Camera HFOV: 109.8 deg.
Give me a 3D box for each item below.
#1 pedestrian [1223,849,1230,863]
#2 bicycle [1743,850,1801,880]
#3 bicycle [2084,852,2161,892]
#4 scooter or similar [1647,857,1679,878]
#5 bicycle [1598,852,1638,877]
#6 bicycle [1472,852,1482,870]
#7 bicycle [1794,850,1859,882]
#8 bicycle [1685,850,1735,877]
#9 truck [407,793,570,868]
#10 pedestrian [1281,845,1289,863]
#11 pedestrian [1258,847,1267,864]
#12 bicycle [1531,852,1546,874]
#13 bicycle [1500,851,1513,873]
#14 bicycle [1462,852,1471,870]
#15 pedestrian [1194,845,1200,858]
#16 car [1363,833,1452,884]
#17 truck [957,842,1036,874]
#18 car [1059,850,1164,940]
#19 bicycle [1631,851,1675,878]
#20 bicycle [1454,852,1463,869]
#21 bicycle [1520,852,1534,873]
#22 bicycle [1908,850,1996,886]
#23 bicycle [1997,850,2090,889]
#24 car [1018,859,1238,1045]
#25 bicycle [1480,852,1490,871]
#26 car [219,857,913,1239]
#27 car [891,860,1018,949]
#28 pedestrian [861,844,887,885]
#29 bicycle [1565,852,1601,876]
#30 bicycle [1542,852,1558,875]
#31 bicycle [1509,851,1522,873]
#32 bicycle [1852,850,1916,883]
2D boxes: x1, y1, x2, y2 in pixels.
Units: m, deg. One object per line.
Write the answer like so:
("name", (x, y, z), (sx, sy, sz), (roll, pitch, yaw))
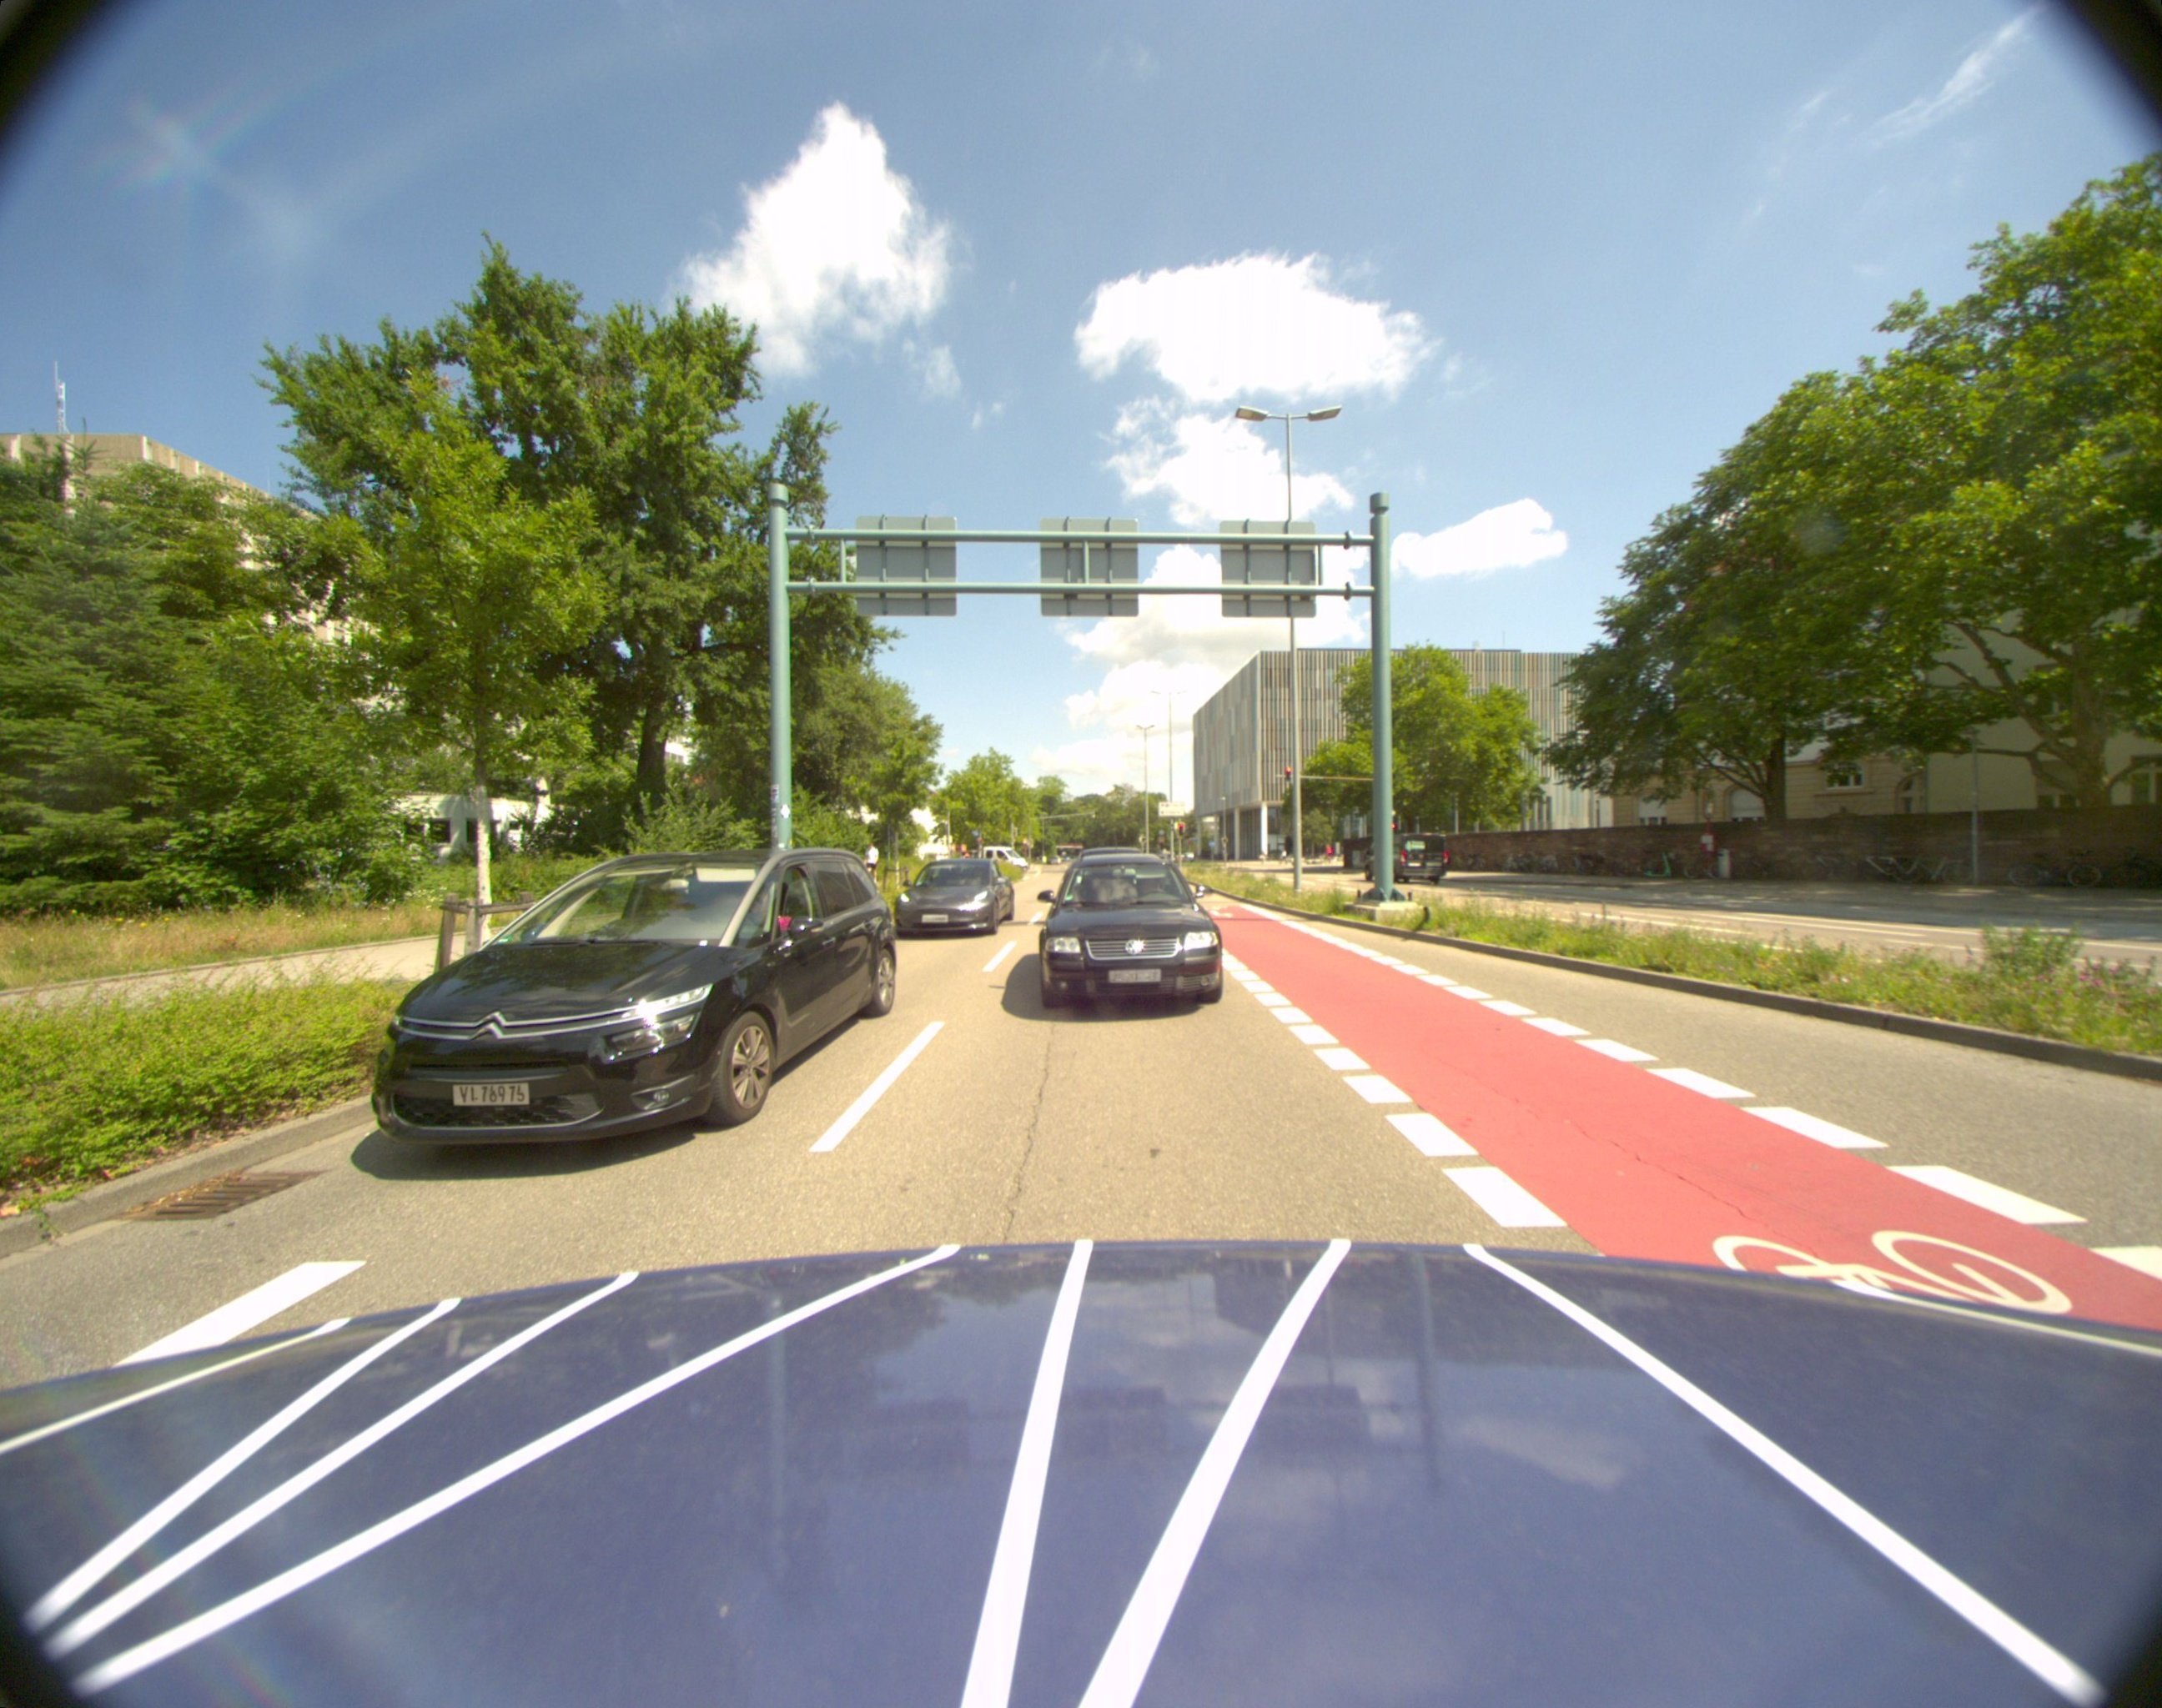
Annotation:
("pedestrian", (20.349, 0.309, 106.308), (0.825, 1.906, 0.807), (-2, 2, -5))
("bicycle", (25.249, 0.383, 27.804), (0.383, 1.037, 1.668), (-1, 1, -11))
("bicycle", (27.108, 0.458, 19.425), (0.398, 0.998, 1.759), (-1, 1, -13))
("scooter or similar", (23.967, 0.553, 31.278), (0.353, 0.838, 1.068), (-1, 1, -12))
("bicycle", (24.135, 0.461, 34.171), (0.383, 1.101, 1.669), (-1, 1, -10))
("bicycle", (22.747, 0.404, 43.645), (0.329, 1.012, 1.673), (0, 1, 22))
("bicycle", (25.571, 0.399, 26.087), (0.383, 1.037, 1.668), (-1, 1, -11))
("bicycle", (24.721, 0.363, 29.901), (0.383, 1.037, 1.668), (-1, 1, -11))
("truck", (-26.847, -1.032, 34.935), (2.098, 3.005, 7.121), (-2, 1, -3))
("pedestrian", (21.452, -0.002, 79.964), (0.632, 1.907, 0.718), (-2, 2, -2))
("pedestrian", (20.100, 0.166, 84.054), (0.715, 1.906, 0.807), (-2, 2, -4))
("bicycle", (23.311, 0.442, 38.730), (0.382, 1.101, 1.673), (0, 1, 22))
("bicycle", (22.864, 0.423, 40.850), (0.382, 1.101, 1.673), (0, 1, 22))
("bicycle", (22.624, 0.389, 44.575), (0.329, 1.012, 1.673), (0, 1, 22))
("pedestrian", (17.352, -0.359, 113.800), (0.715, 1.906, 0.807), (-2, 2, -4))
("car", (14.789, 0.185, 34.725), (2.214, 2.158, 4.520), (0, 0, 2))
("truck", (-6.815, 0.351, 61.315), (5.803, 2.287, 2.467), (-3, 0, 21))
("car", (0.608, 0.712, 15.498), (1.751, 1.496, 4.520), (-3, 0, 2))
("bicycle", (24.435, 0.437, 32.496), (0.383, 1.101, 1.668), (-1, 1, -11))
("bicycle", (22.499, 0.380, 45.307), (0.329, 1.012, 1.673), (0, 1, 22))
("bicycle", (23.218, 0.432, 39.592), (0.382, 1.101, 1.673), (0, 1, 22))
("bicycle", (26.263, 0.392, 22.960), (0.398, 1.037, 1.759), (-1, 1, -13))
("bicycle", (26.711, 0.399, 21.114), (0.398, 1.037, 1.582), (-1, 1, -13))
("car", (0.464, 0.827, 8.566), (1.751, 1.426, 4.520), (-3, 0, 2))
("bicycle", (22.846, 0.419, 42.931), (0.329, 1.012, 1.673), (0, 1, 22))
("car", (-2.824, 0.893, 5.665), (1.862, 1.613, 4.521), (-3, 0, 3))
("car", (-2.366, 0.885, 15.323), (1.765, 1.409, 4.363), (-3, 0, 0))
("pedestrian", (-9.235, 0.454, 33.904), (0.844, 1.755, 0.841), (-2, 2, 1))
("bicycle", (23.890, 0.478, 36.188), (0.382, 1.101, 1.669), (-1, 1, -8))
("bicycle", (23.440, 0.450, 37.972), (0.382, 1.101, 1.673), (0, 1, 22))
("bicycle", (23.119, 0.421, 40.409), (0.382, 1.101, 1.673), (0, 1, 22))
("bicycle", (25.898, 0.397, 24.535), (0.377, 1.037, 1.415), (-1, 1, -13))
